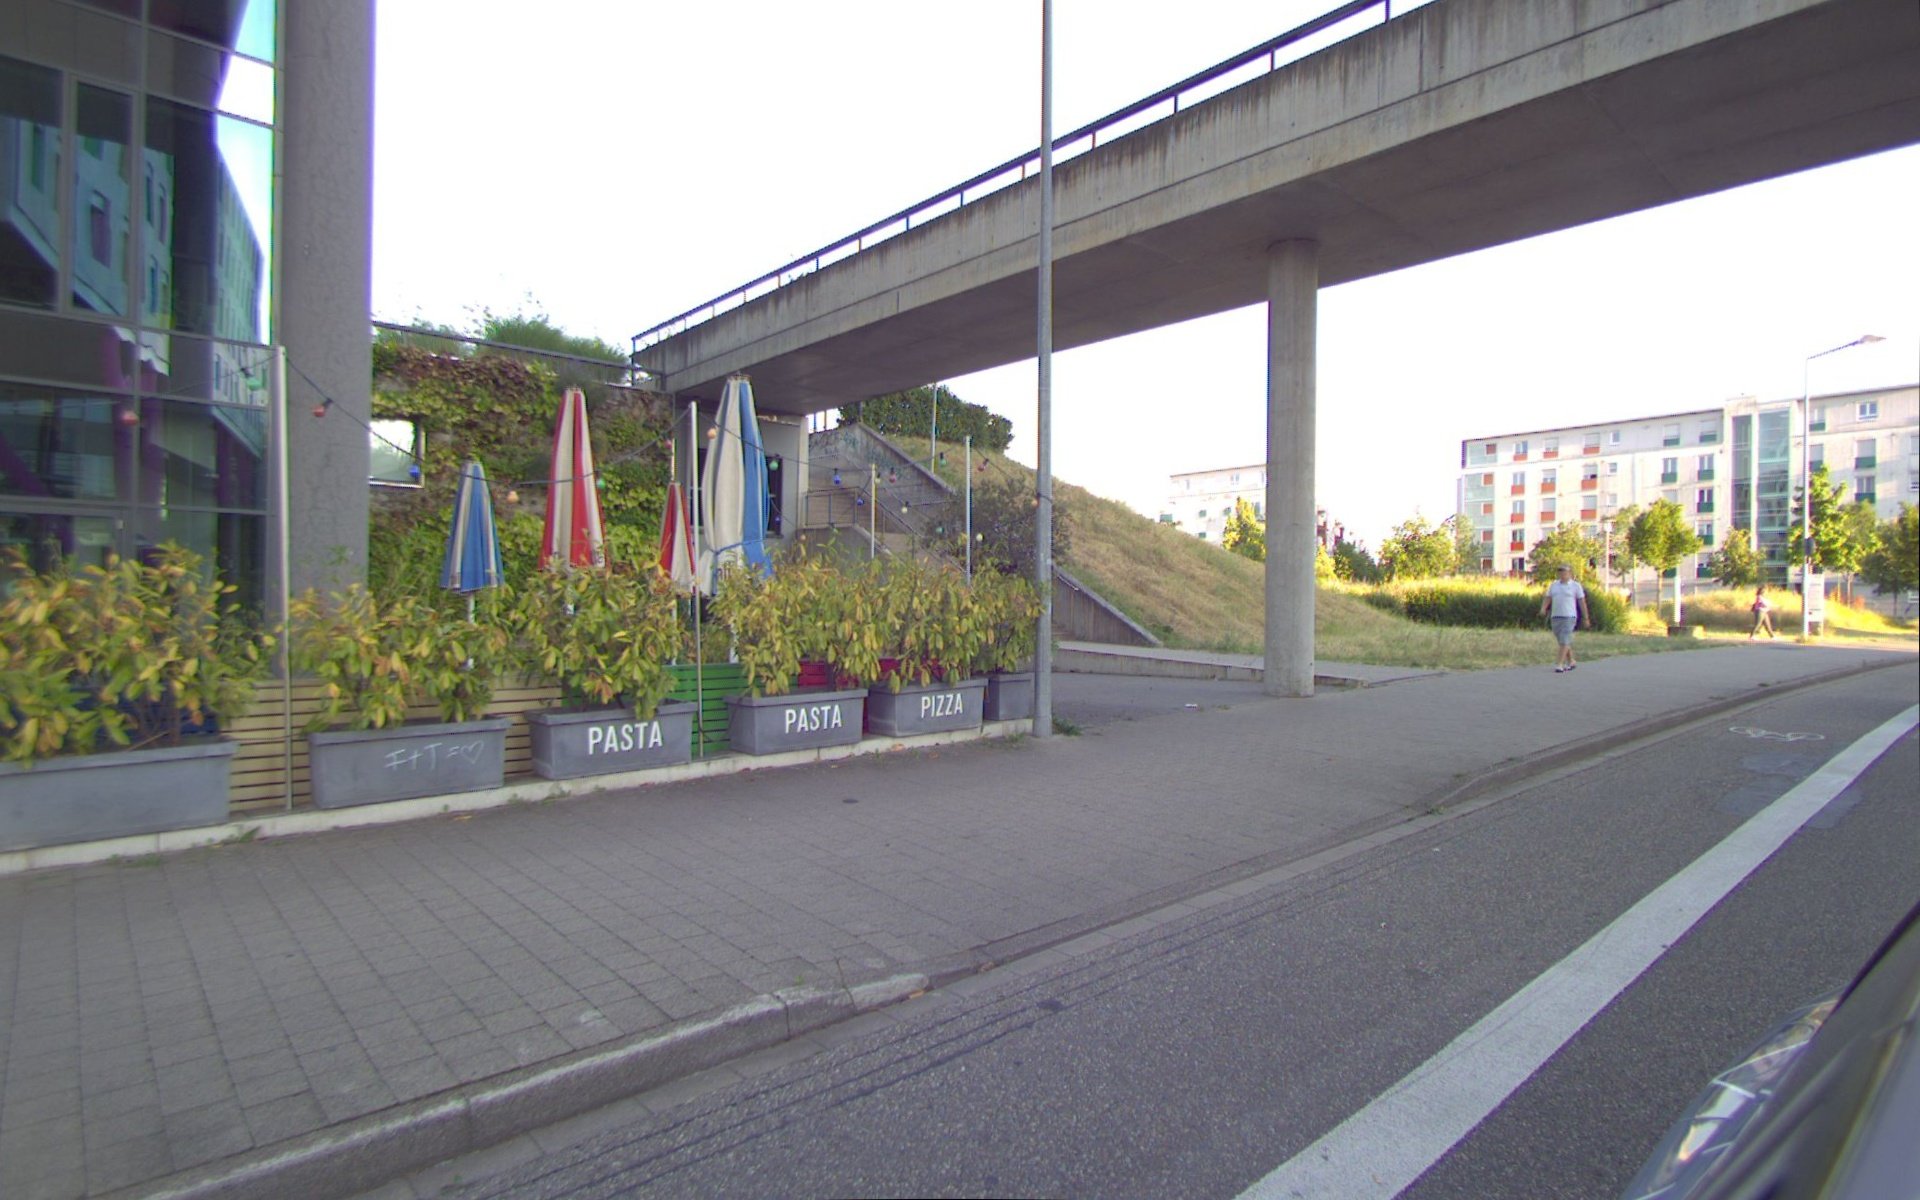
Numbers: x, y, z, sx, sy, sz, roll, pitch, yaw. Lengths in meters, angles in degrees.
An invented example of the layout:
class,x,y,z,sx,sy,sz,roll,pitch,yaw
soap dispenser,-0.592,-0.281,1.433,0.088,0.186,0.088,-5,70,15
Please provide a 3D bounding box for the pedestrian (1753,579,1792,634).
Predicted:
class,x,y,z,sx,sy,sz,roll,pitch,yaw
pedestrian,25.195,0.192,31.396,0.844,1.649,0.737,1,2,-40

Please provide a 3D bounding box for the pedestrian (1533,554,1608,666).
class,x,y,z,sx,sy,sz,roll,pitch,yaw
pedestrian,9.969,0.147,16.530,0.890,1.745,0.737,1,2,-40
